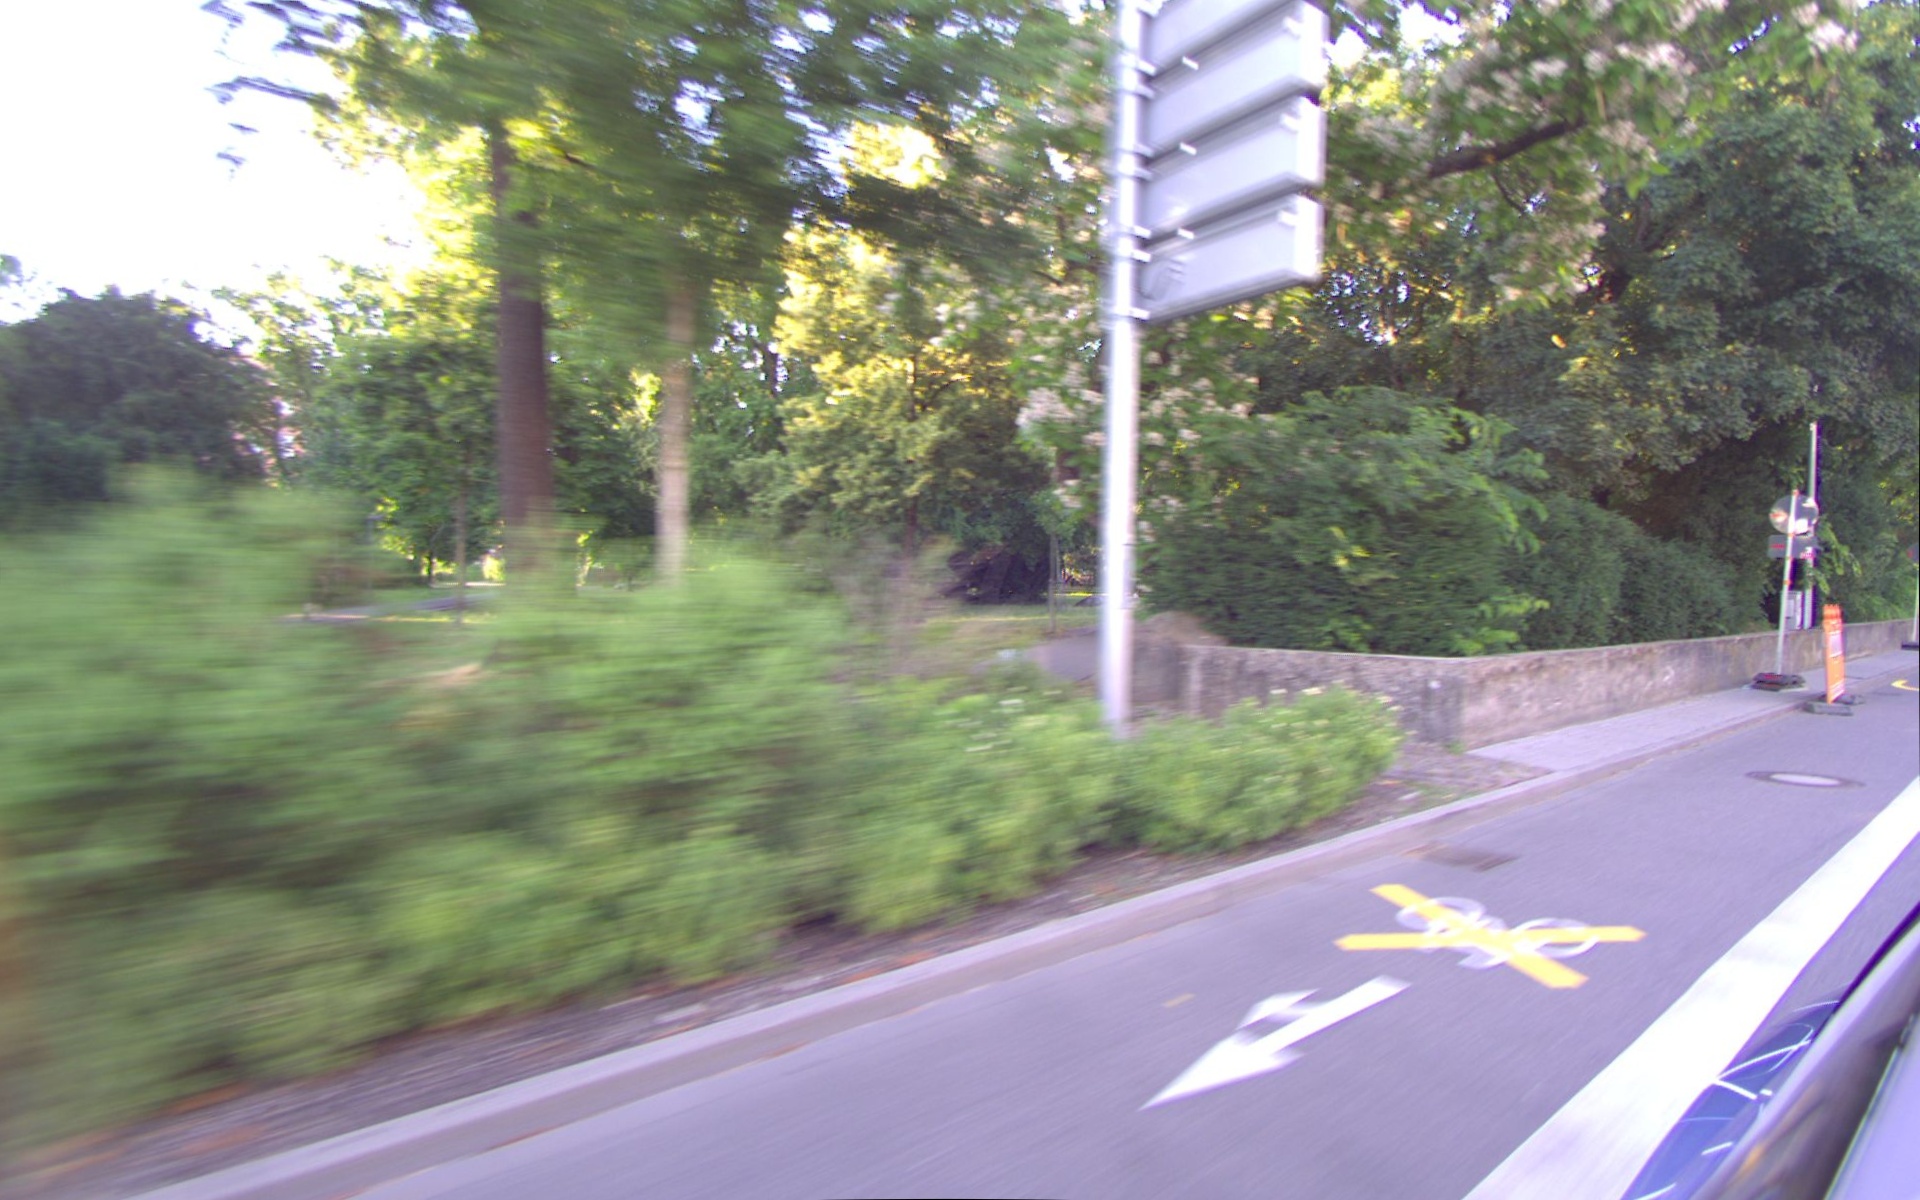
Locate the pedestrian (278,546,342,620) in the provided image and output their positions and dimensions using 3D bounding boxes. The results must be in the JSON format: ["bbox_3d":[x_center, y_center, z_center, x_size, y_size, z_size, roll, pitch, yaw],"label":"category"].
[{"bbox_3d":[-15.751,-0.419,24.553,0.820,1.643,0.818,10,0,-10],"label":"pedestrian"}]

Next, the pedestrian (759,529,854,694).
[{"bbox_3d":[-1.807,0.118,11.946,0.790,1.855,0.763,2,1,36],"label":"pedestrian"}]
